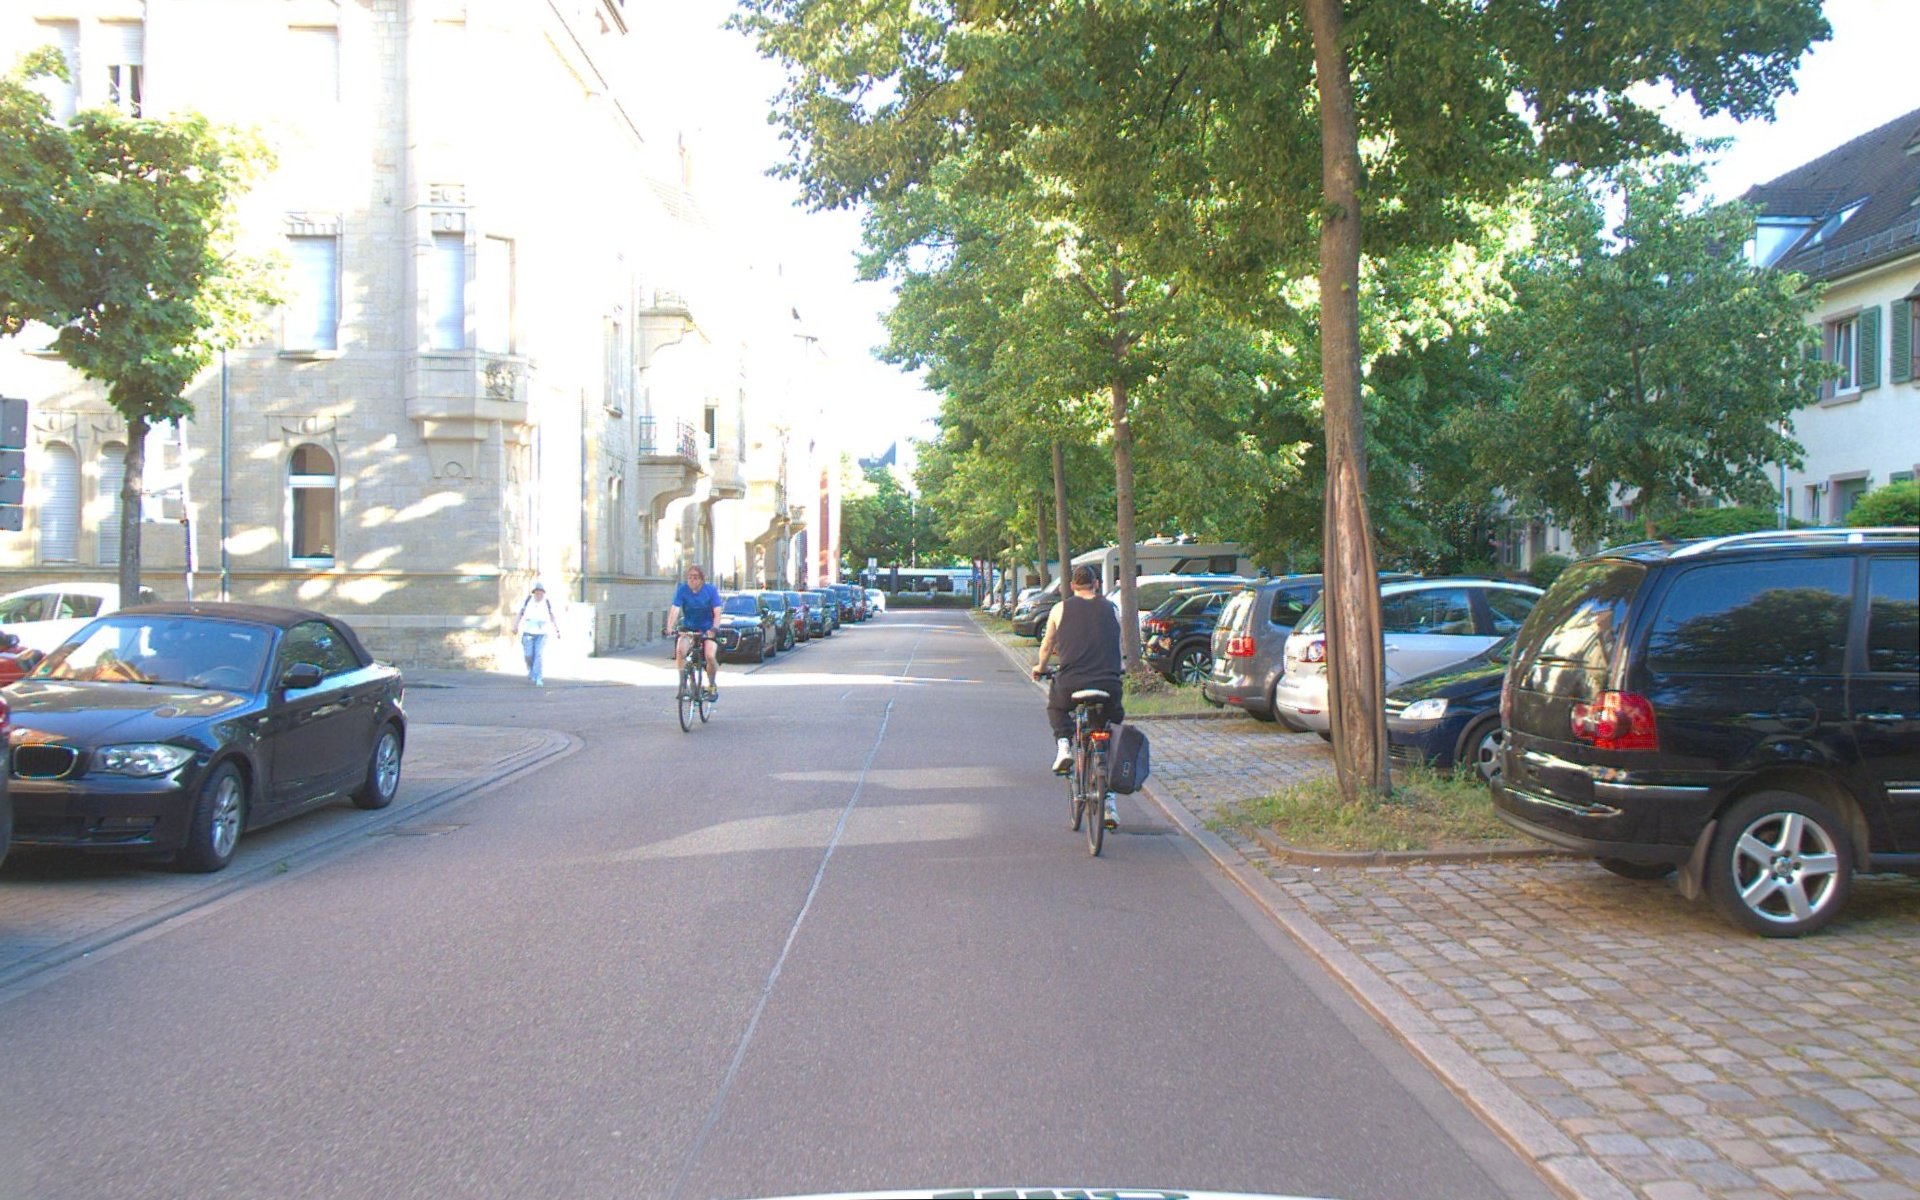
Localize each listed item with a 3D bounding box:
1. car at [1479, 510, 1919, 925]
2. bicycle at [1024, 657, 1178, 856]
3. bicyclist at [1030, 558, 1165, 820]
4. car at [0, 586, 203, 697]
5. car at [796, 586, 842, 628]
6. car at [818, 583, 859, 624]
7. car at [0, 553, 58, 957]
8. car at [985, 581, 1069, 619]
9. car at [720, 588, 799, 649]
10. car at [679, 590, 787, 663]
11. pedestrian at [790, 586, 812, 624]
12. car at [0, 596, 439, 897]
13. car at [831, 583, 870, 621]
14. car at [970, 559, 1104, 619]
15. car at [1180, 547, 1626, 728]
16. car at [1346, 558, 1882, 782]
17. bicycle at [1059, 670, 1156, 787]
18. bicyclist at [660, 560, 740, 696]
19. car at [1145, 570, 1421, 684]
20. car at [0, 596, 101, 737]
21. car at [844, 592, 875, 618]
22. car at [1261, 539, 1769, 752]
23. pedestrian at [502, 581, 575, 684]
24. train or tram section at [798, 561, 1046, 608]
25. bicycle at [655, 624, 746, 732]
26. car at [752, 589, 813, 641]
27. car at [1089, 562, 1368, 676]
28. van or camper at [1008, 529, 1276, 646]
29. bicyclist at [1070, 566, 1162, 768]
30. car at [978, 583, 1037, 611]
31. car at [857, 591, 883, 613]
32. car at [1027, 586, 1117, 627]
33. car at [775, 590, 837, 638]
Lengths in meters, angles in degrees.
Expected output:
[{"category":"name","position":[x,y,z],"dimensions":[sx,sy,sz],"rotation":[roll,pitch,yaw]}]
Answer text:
[{"category":"car","position":[5.091,0.402,8.034],"dimensions":[4.487,1.706,1.907],"rotation":[-3,0,1]},{"category":"bicycle","position":[0.849,0.934,10.494],"dimensions":[0.722,1.072,1.955],"rotation":[2,-1,-2]},{"category":"bicyclist","position":[0.859,0.547,10.519],"dimensions":[0.715,1.575,0.884],"rotation":[2,-1,-2]},{"category":"car","position":[-14.039,0.616,25.683],"dimensions":[3.720,1.577,1.718],"rotation":[0,3,-3]},{"category":"car","position":[-5.517,0.252,64.896],"dimensions":[1.564,1.514,2.735],"rotation":[3,1,-2]},{"category":"car","position":[-5.720,0.132,78.302],"dimensions":[1.607,1.814,4.354],"rotation":[2,1,0]},{"category":"car","position":[-4.791,0.643,5.214],"dimensions":[1.636,1.710,4.348],"rotation":[1,0,-3]},{"category":"car","position":[3.348,-0.004,83.037],"dimensions":[4.001,1.678,1.640],"rotation":[-3,0,-3]},{"category":"car","position":[-5.076,0.467,42.306],"dimensions":[1.662,1.479,4.026],"rotation":[0,0,-2]},{"category":"car","position":[-4.991,0.554,37.004],"dimensions":[1.774,1.451,4.897],"rotation":[2,0,-1]},{"category":"pedestrian","position":[-7.458,0.245,77.525],"dimensions":[0.919,1.773,0.735],"rotation":[1,-1,0]},{"category":"car","position":[-4.765,0.727,10.378],"dimensions":[1.602,1.435,4.332],"rotation":[2,0,-1]},{"category":"car","position":[-5.596,0.086,85.137],"dimensions":[1.654,1.857,4.273],"rotation":[2,1,0]},{"category":"car","position":[4.158,-0.609,90.437],"dimensions":[7.005,3.030,2.463],"rotation":[-2,0,-4]},{"category":"car","position":[4.914,0.390,18.669],"dimensions":[4.453,1.662,1.810],"rotation":[-3,0,-7]},{"category":"car","position":[5.168,0.526,13.373],"dimensions":[3.647,1.478,1.589],"rotation":[-3,0,-1]},{"category":"bicycle","position":[1.217,1.053,13.946],"dimensions":[0.620,0.813,1.832],"rotation":[-1,1,-1]},{"category":"bicyclist","position":[-2.908,0.307,18.599],"dimensions":[0.744,1.479,0.948],"rotation":[-1,-1,-1]},{"category":"car","position":[5.053,0.401,26.220],"dimensions":[3.985,1.502,1.694],"rotation":[-3,1,0]},{"category":"car","position":[-11.041,0.705,17.394],"dimensions":[1.602,1.494,4.657],"rotation":[1,0,-1]},{"category":"car","position":[-5.816,0.271,96.143],"dimensions":[1.551,1.367,4.131],"rotation":[2,1,0]},{"category":"car","position":[5.113,0.400,15.655],"dimensions":[4.184,1.662,1.691],"rotation":[-3,0,2]},{"category":"pedestrian","position":[-6.795,0.508,26.721],"dimensions":[0.870,1.604,1.053],"rotation":[-1,1,-1]},{"category":"train or tram section","position":[-3.384,-1.374,156.100],"dimensions":[23.483,3.773,4.255],"rotation":[1,0,-23]},{"category":"bicycle","position":[-2.896,0.847,18.623],"dimensions":[0.742,1.127,1.907],"rotation":[-1,0,-1]},{"category":"car","position":[-5.337,0.425,49.975],"dimensions":[1.596,1.478,3.836],"rotation":[1,1,-3]},{"category":"car","position":[4.589,0.318,28.728],"dimensions":[4.524,1.739,1.833],"rotation":[-2,0,1]},{"category":"van or camper","position":[4.903,-0.345,45.448],"dimensions":[7.000,2.693,2.465],"rotation":[-3,0,1]},{"category":"bicyclist","position":[1.314,0.545,14.085],"dimensions":[0.675,1.655,0.998],"rotation":[-1,0,0]},{"category":"car","position":[3.233,-0.211,112.699],"dimensions":[3.907,1.835,1.833],"rotation":[1,0,-3]},{"category":"car","position":[-6.196,0.123,113.812],"dimensions":[1.551,1.399,4.131],"rotation":[2,1,0]},{"category":"car","position":[4.696,0.273,69.716],"dimensions":[3.695,1.628,1.691],"rotation":[-1,-2,1]},{"category":"car","position":[-5.163,0.443,55.874],"dimensions":[1.641,1.455,4.550],"rotation":[2,1,0]}]
